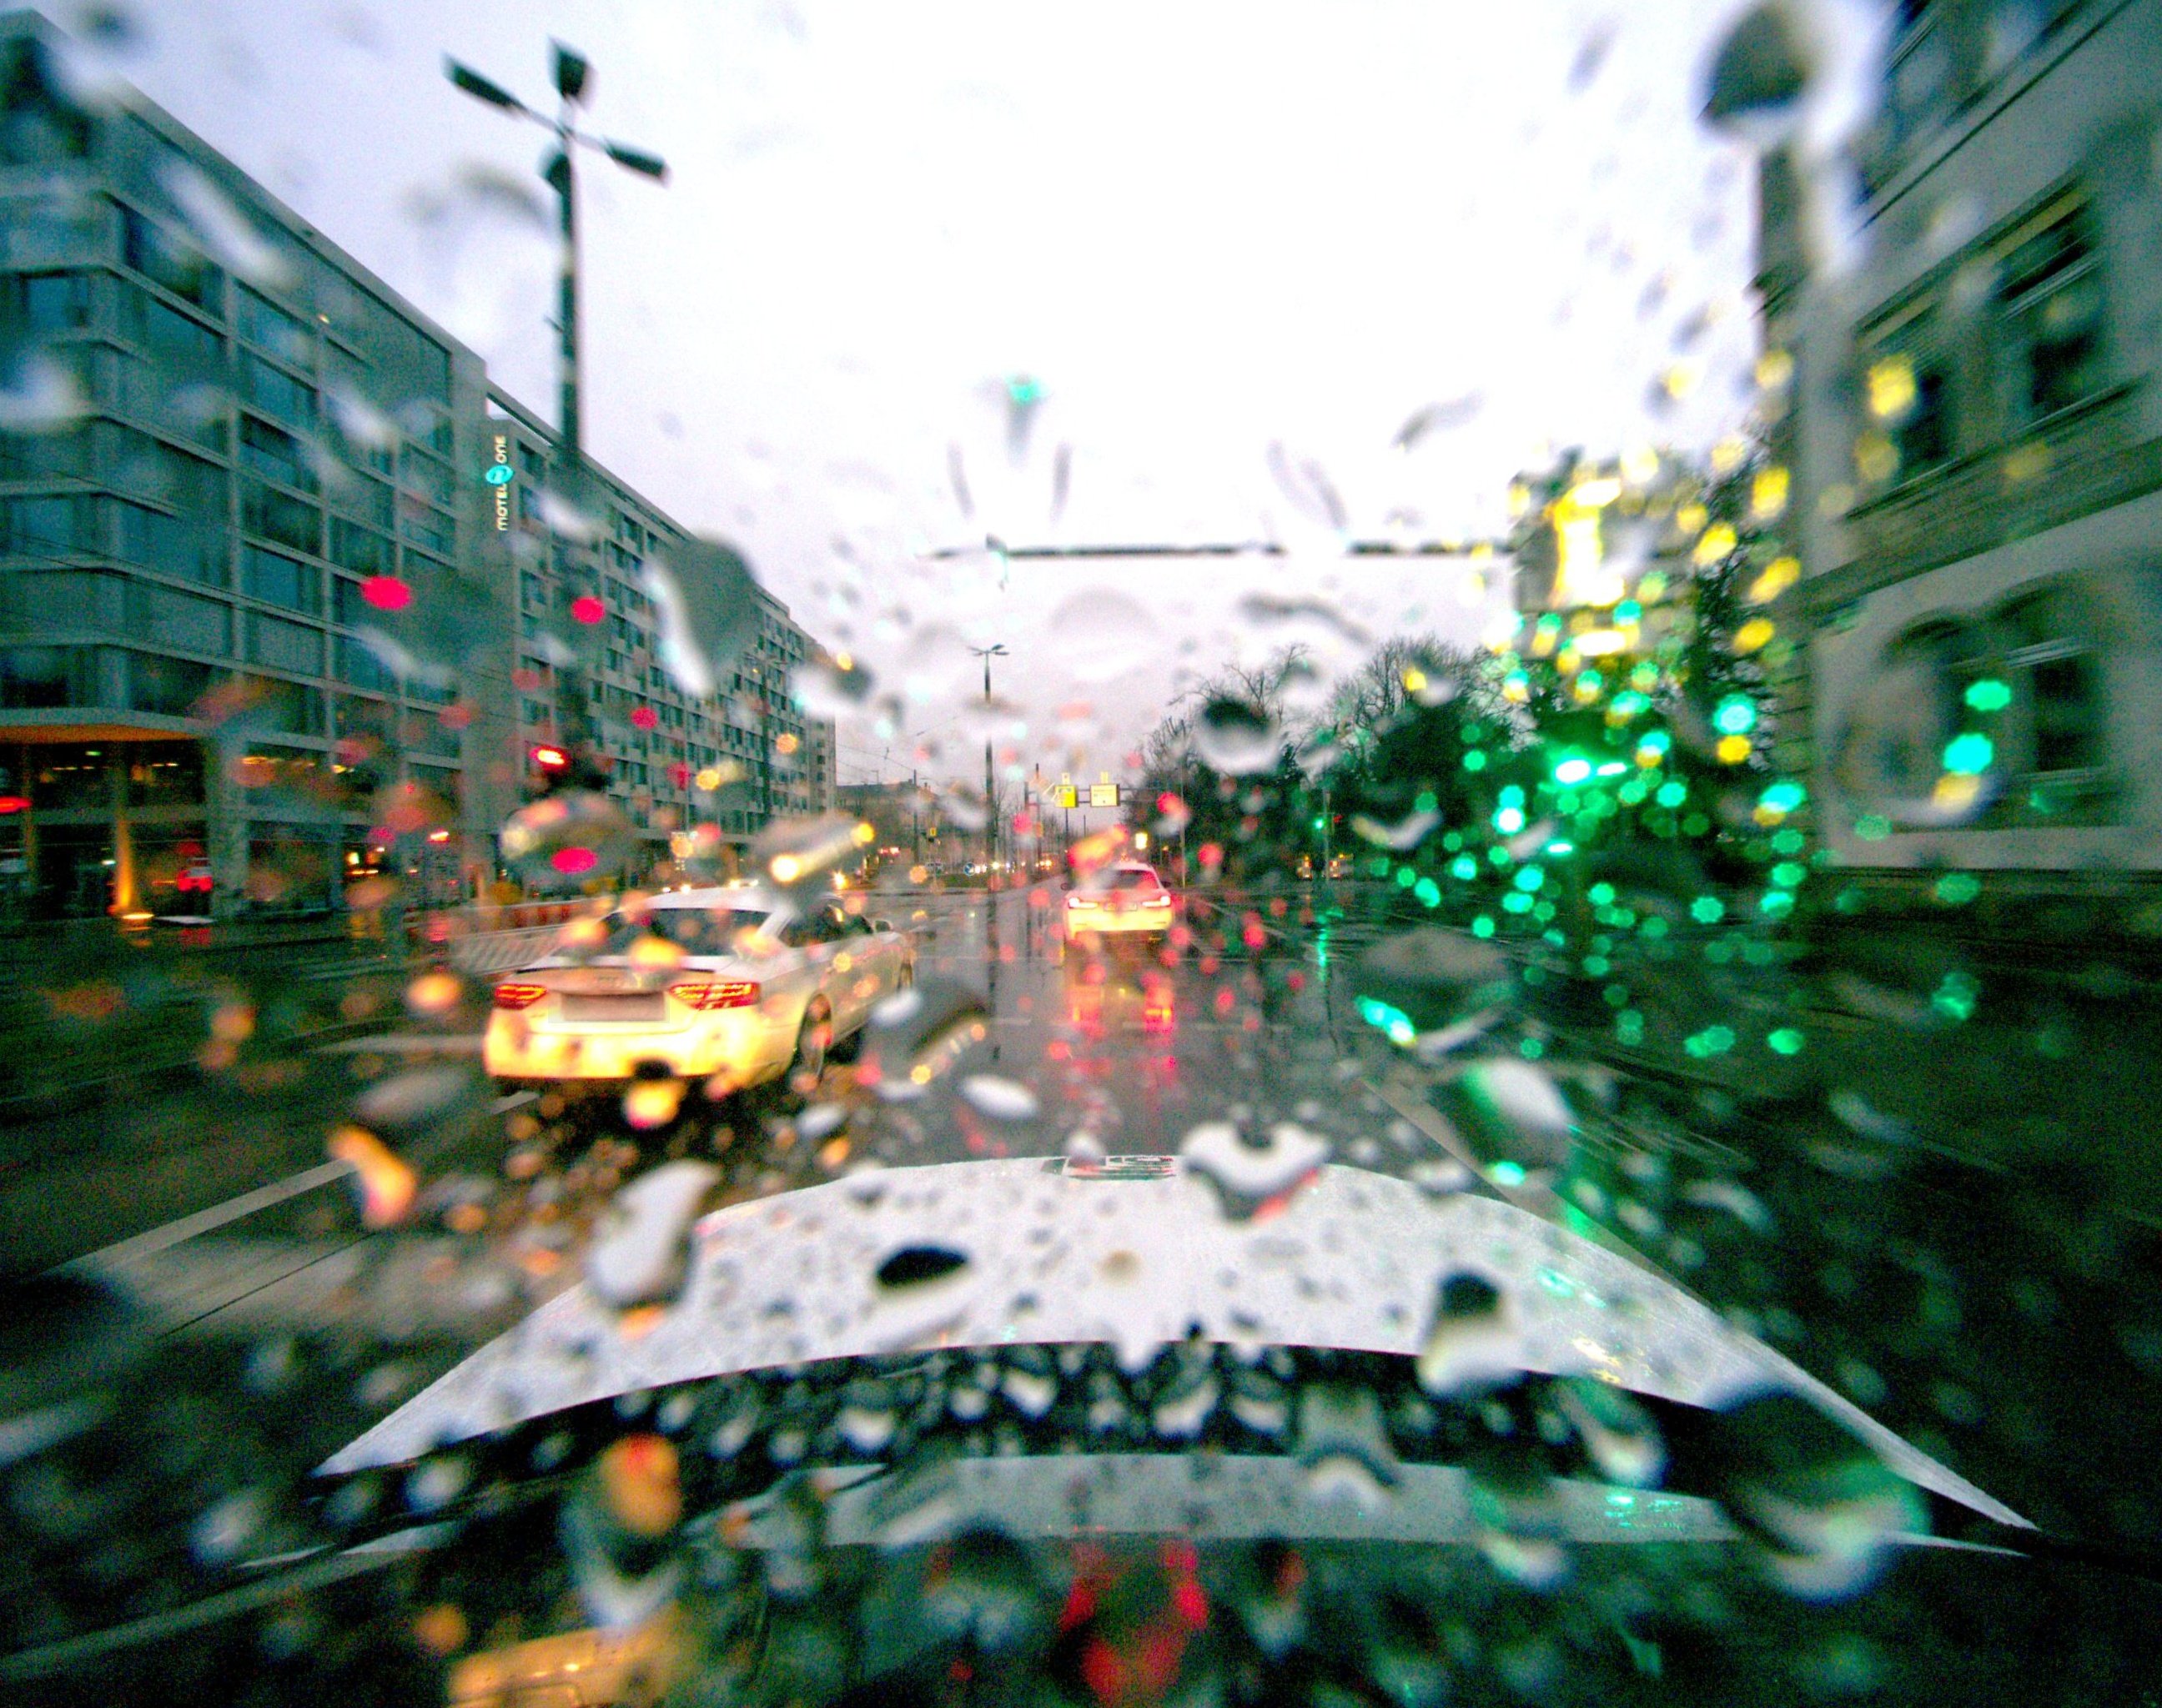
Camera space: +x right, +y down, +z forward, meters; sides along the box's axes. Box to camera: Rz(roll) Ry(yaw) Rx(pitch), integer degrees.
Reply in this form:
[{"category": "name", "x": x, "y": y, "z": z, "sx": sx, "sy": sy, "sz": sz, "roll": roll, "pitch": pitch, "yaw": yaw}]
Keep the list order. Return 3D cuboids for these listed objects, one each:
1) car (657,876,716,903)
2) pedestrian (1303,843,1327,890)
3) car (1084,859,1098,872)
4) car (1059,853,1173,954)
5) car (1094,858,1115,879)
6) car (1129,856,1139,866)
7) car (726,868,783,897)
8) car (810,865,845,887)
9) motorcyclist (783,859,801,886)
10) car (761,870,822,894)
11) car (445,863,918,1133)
[{"category": "car", "x": -25.454, "y": 2.261, "z": 52.705, "sx": 1.875, "sy": 1.574, "sz": 3.999, "roll": 0, "pitch": -1, "yaw": 0}, {"category": "pedestrian", "x": 9.396, "y": 0.501, "z": 32.746, "sx": 0.706, "sy": 1.879, "sz": 0.679, "roll": -1, "pitch": -1, "yaw": 39}, {"category": "car", "x": 1.507, "y": 1.727, "z": 123.459, "sx": 1.986, "sy": 2.014, "sz": 4.002, "roll": 0, "pitch": -1, "yaw": 2}, {"category": "car", "x": 0.497, "y": 0.779, "z": 14.708, "sx": 1.755, "sy": 1.552, "sz": 4.248, "roll": 0, "pitch": -1, "yaw": -2}, {"category": "car", "x": 2.396, "y": 1.473, "z": 82.566, "sx": 1.986, "sy": 2.014, "sz": 4.002, "roll": 0, "pitch": -1, "yaw": 2}, {"category": "car", "x": 10.852, "y": 1.434, "z": 166.737, "sx": 1.986, "sy": 2.014, "sz": 4.002, "roll": 0, "pitch": -1, "yaw": 2}, {"category": "car", "x": -21.867, "y": 1.879, "z": 54.805, "sx": 1.874, "sy": 1.789, "sz": 4.600, "roll": 0, "pitch": -1, "yaw": 1}, {"category": "car", "x": -18.676, "y": 1.591, "z": 60.221, "sx": 1.995, "sy": 1.462, "sz": 5.073, "roll": 0, "pitch": -1, "yaw": -12}, {"category": "motorcyclist", "x": -20.291, "y": 1.281, "z": 57.254, "sx": 0.867, "sy": 1.885, "sz": 1.034, "roll": 0, "pitch": -1, "yaw": 2}, {"category": "car", "x": -18.782, "y": 1.800, "z": 53.090, "sx": 1.986, "sy": 1.462, "sz": 5.097, "roll": 0, "pitch": -1, "yaw": 2}, {"category": "car", "x": -2.635, "y": 0.819, "z": 6.645, "sx": 1.754, "sy": 1.470, "sz": 4.250, "roll": 0, "pitch": -1, "yaw": 0}]
